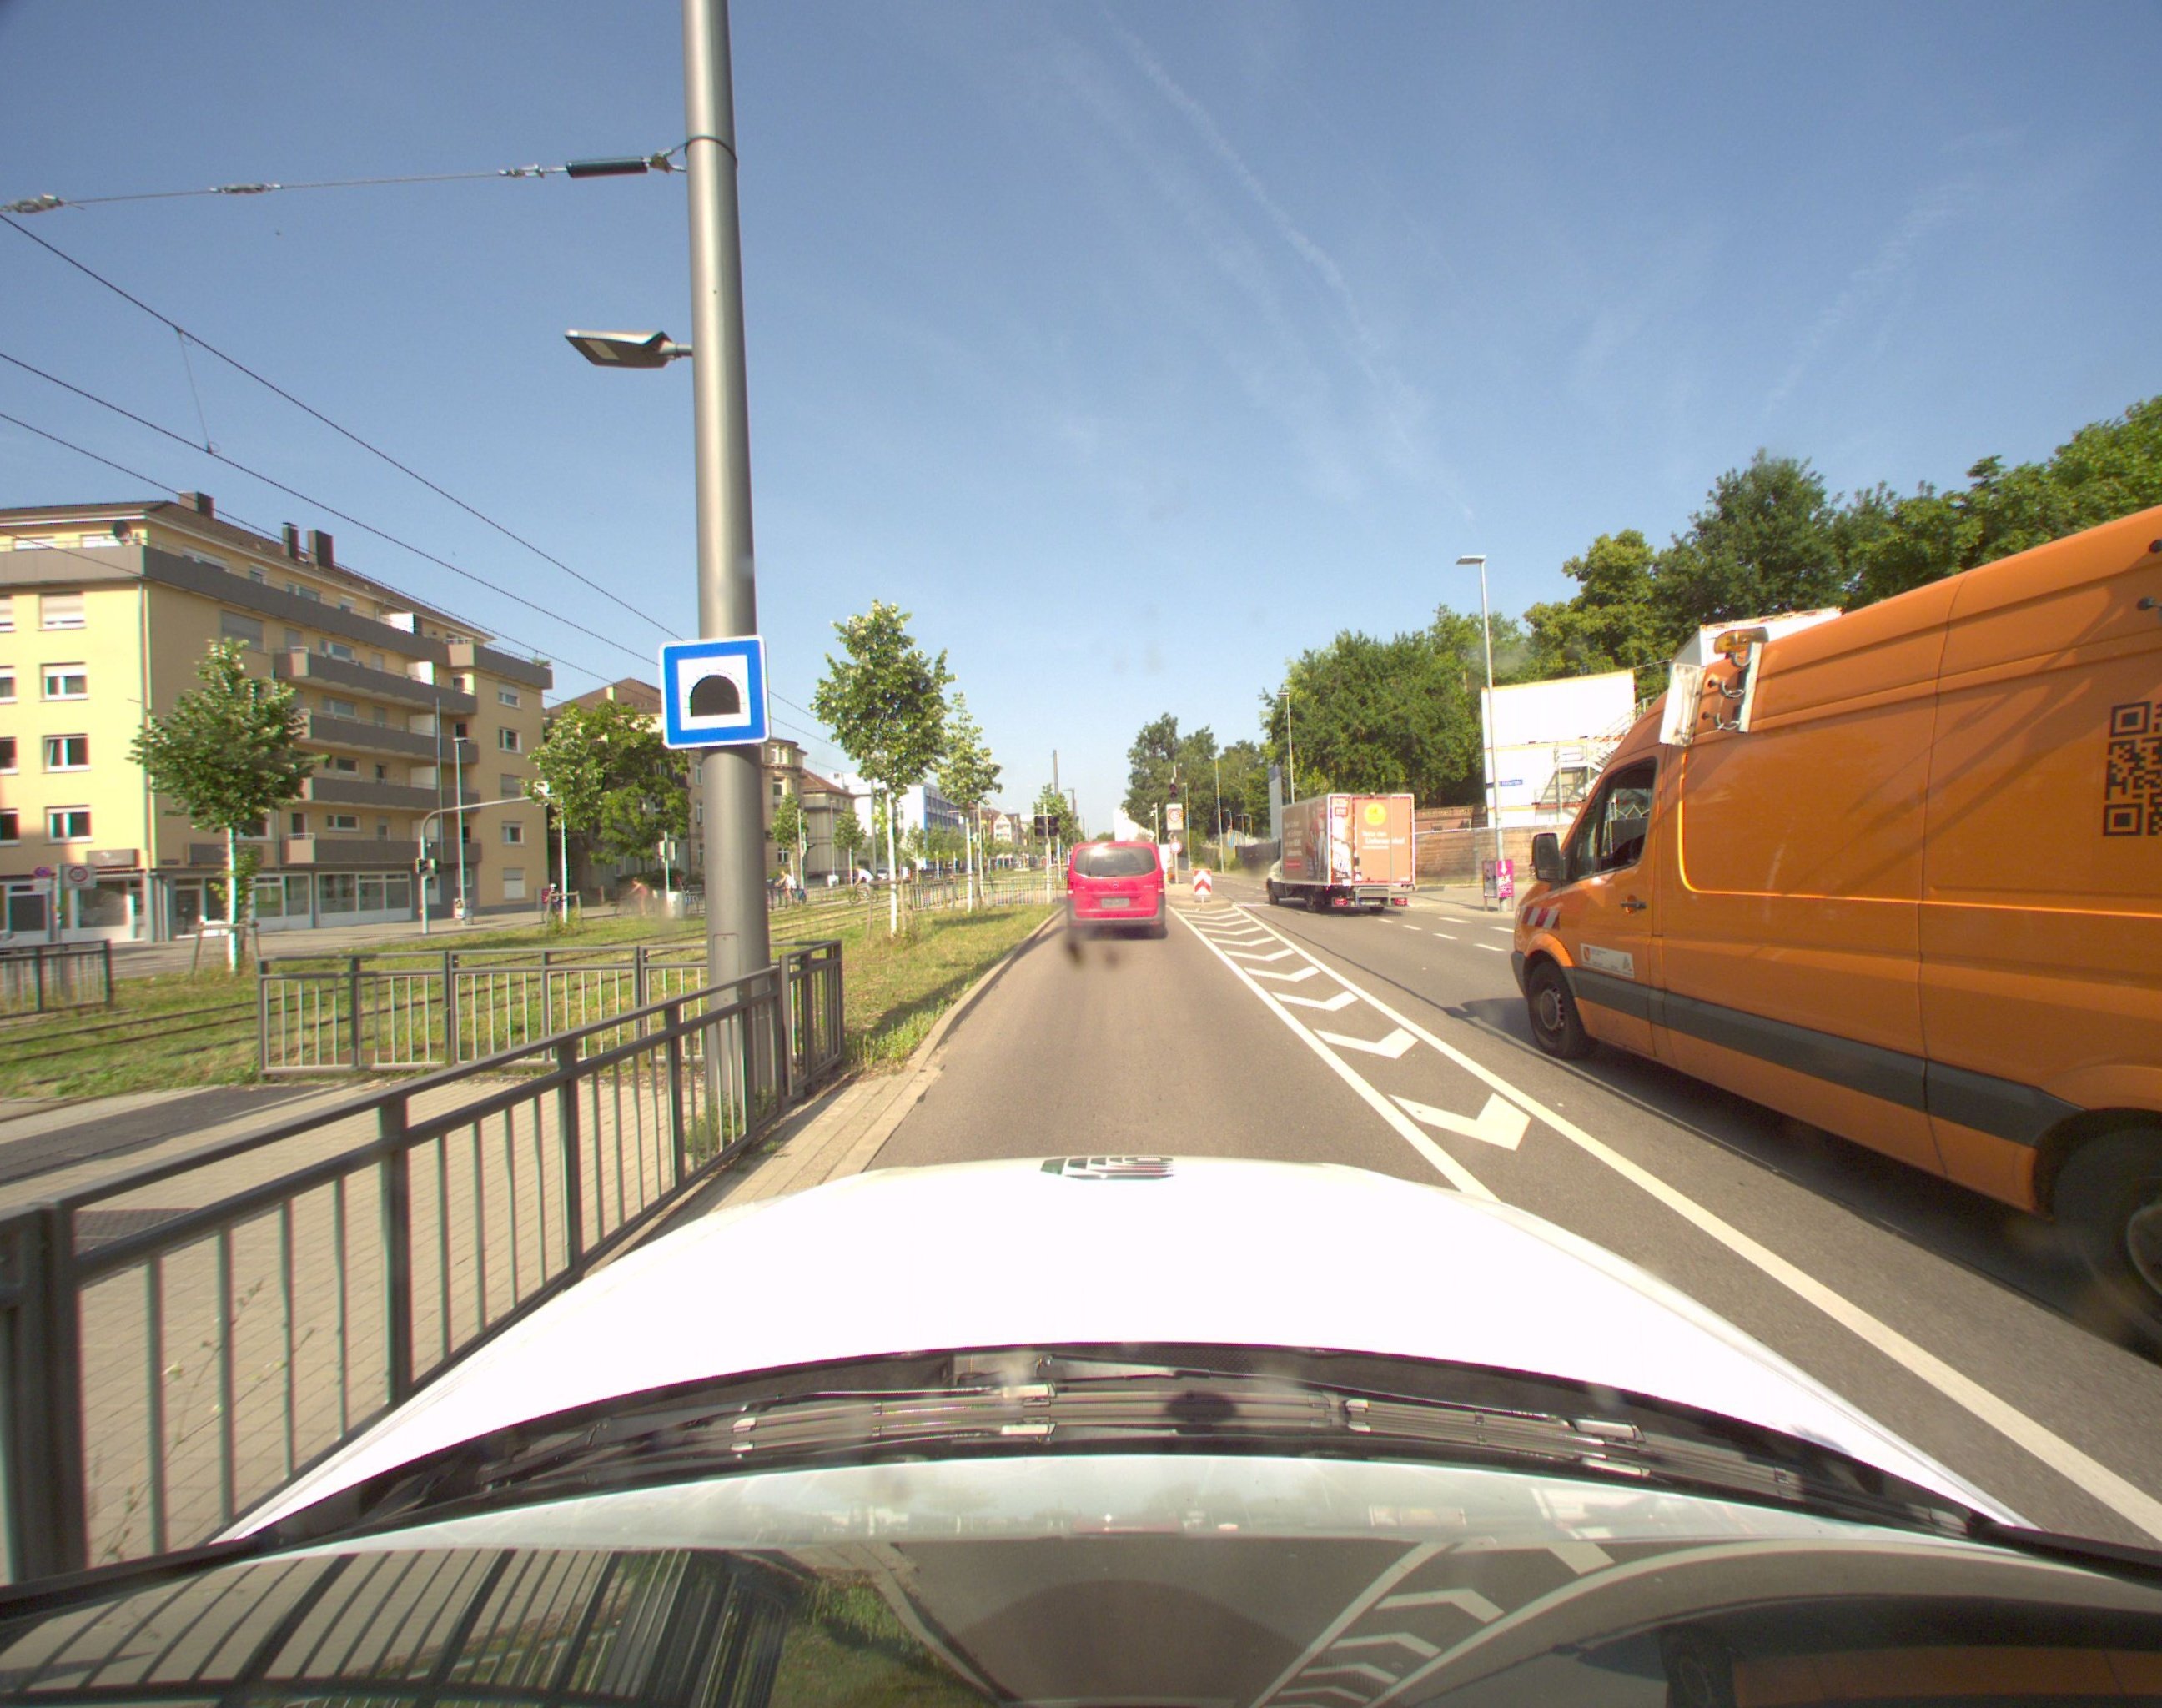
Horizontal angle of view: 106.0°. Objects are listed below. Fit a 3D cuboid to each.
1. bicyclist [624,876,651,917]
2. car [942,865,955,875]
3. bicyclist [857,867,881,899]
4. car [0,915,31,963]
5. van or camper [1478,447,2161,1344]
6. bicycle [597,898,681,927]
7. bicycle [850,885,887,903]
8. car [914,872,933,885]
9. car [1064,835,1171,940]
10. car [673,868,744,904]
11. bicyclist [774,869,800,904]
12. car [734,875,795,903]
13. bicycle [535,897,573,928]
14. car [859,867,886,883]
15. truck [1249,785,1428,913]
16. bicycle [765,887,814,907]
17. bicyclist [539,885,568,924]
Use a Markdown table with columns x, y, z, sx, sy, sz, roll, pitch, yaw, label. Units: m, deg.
| x | y | z | sx | sy | sz | roll | pitch | yaw | label |
| --- | --- | --- | --- | --- | --- | --- | --- | --- | --- |
| -18.445 | 1.764 | 33.853 | 0.896 | 1.628 | 0.883 | -2 | -1 | -32 | bicyclist |
| -23.399 | 2.840 | 143.870 | 1.513 | 1.464 | 3.824 | -3 | 1 | 0 | car |
| -9.745 | 1.319 | 37.496 | 0.679 | 1.440 | 0.811 | -1 | -2 | 30 | bicyclist |
| -38.826 | 3.040 | 27.741 | 3.613 | 1.583 | 1.708 | -3 | 2 | -2 | car |
| 4.089 | 0.113 | 3.737 | 1.977 | 2.472 | 6.069 | -1 | 0 | 5 | van or camper |
| -18.369 | 2.409 | 33.852 | 3.008 | 0.965 | 0.891 | -2 | -1 | -32 | bicycle |
| -9.749 | 1.821 | 37.455 | 0.711 | 0.798 | 1.613 | -1 | -1 | 30 | bicycle |
| -23.664 | 3.699 | 122.323 | 1.910 | 1.813 | 4.002 | 0 | -1 | 2 | car |
| 0.745 | 0.624 | 16.610 | 1.893 | 1.859 | 4.003 | -1 | -1 | 3 | car |
| -23.648 | 1.984 | 51.969 | 1.987 | 2.014 | 5.301 | -2 | -1 | 0 | car |
| -13.242 | 1.445 | 36.658 | 0.985 | 1.500 | 0.617 | -2 | -1 | -15 | bicyclist |
| -19.444 | 2.128 | 50.273 | 1.987 | 1.513 | 4.397 | -2 | -1 | 0 | car |
| -25.165 | 2.780 | 38.906 | 0.693 | 1.346 | 1.756 | -2 | -1 | -3 | bicycle |
| -28.512 | 2.888 | 111.459 | 2.242 | 2.014 | 5.261 | 0 | -2 | 0 | car |
| 6.990 | -0.055 | 23.426 | 2.495 | 3.061 | 7.815 | 0 | -1 | -1 | truck |
| -13.129 | 1.929 | 36.675 | 2.000 | 0.793 | 0.626 | -2 | -1 | -15 | bicycle |
| -25.178 | 2.391 | 38.873 | 0.667 | 1.805 | 1.082 | -2 | -1 | -4 | bicyclist |
